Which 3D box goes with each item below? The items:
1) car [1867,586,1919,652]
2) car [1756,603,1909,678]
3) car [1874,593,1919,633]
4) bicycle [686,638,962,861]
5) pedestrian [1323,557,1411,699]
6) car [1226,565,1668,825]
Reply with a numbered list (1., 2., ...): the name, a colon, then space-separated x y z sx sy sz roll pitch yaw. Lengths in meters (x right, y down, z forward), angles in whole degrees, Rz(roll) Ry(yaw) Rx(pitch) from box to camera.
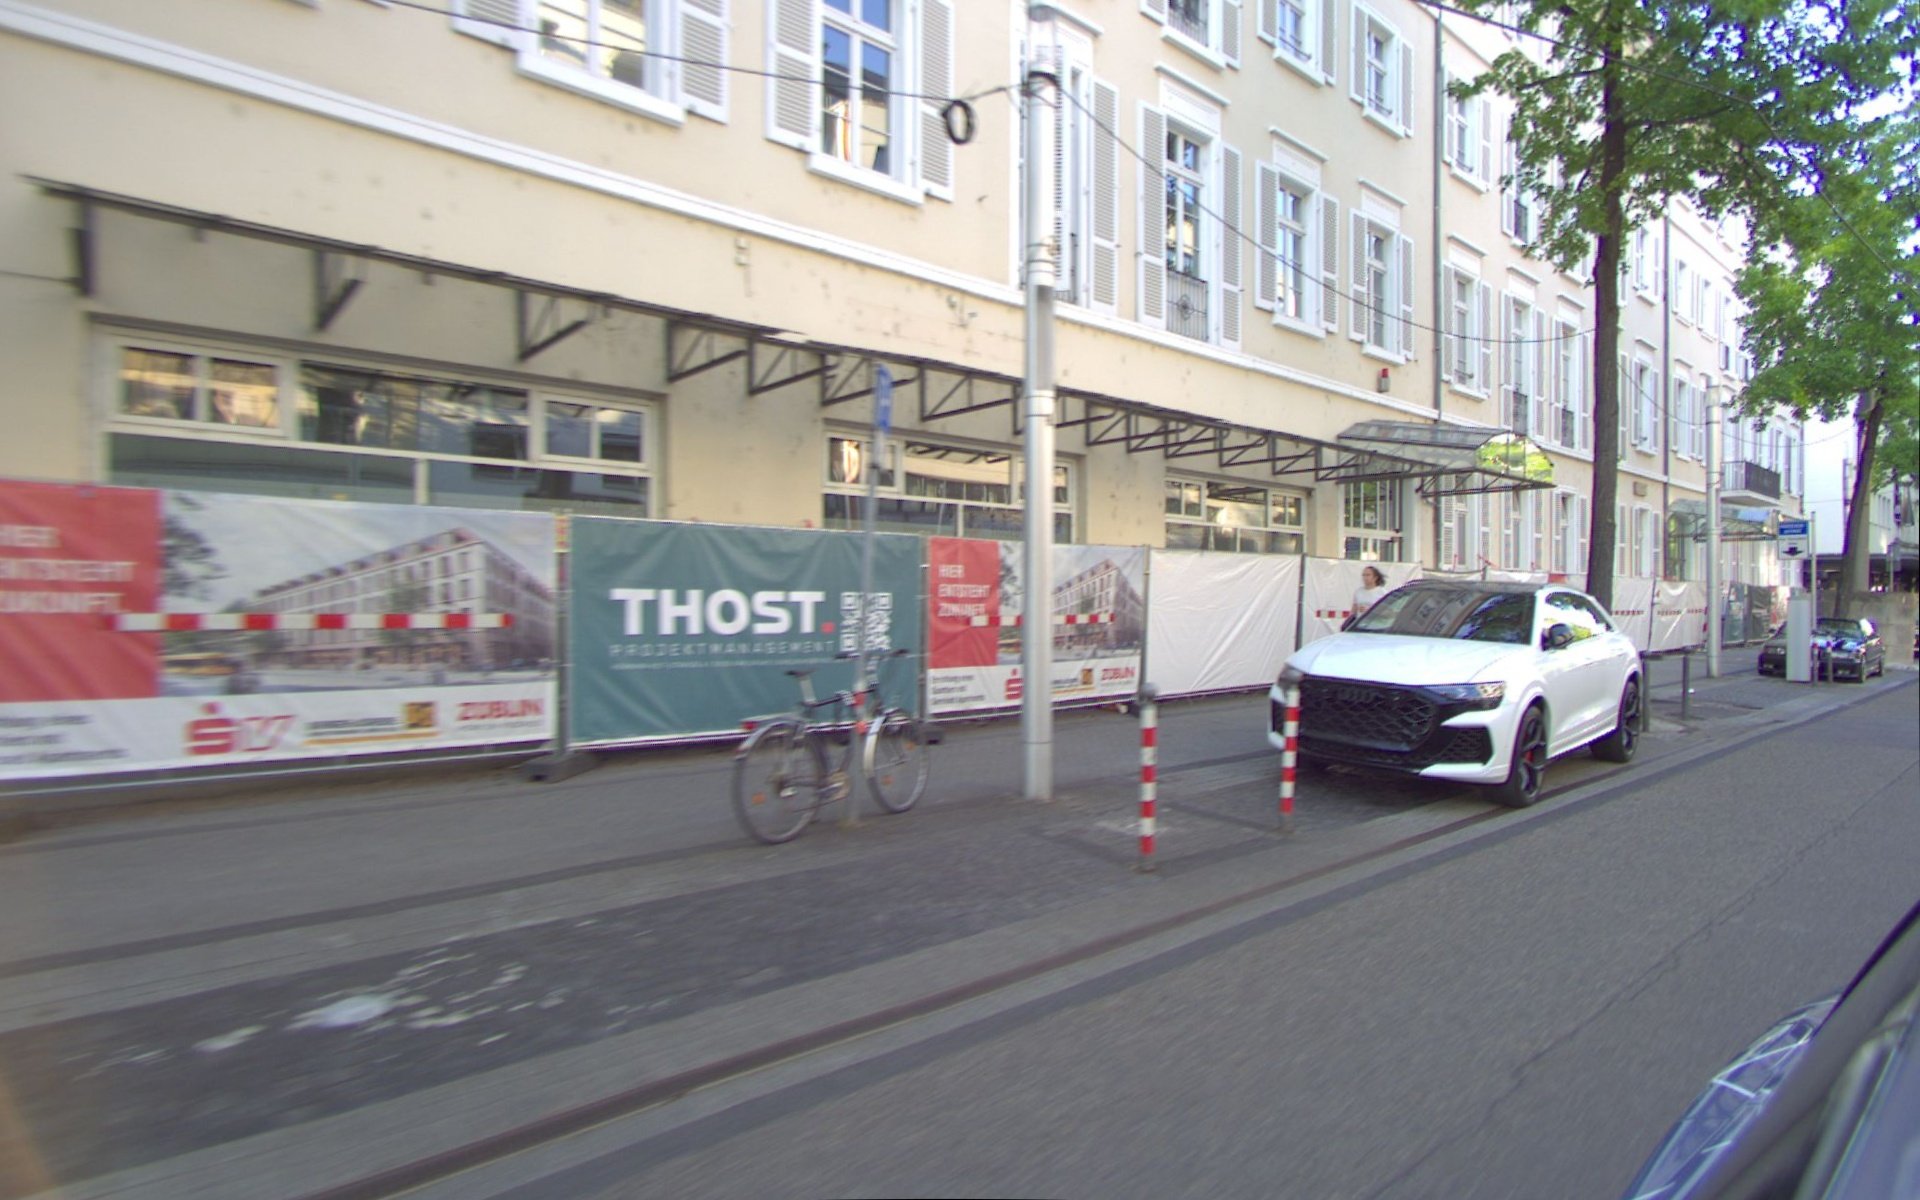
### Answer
1. car: 28.739 0.540 29.998 4.236 1.815 1.958 0 2 -37
2. car: 18.529 0.784 21.430 4.253 1.327 1.798 0 2 -40
3. car: 41.283 0.540 42.543 1.831 1.628 3.944 -2 1 -33
4. bicycle: -0.775 0.849 6.399 0.417 1.114 1.960 2 2 39
5. pedestrian: 5.731 0.362 14.239 1.034 1.910 0.714 0 1 -40
6. car: 4.633 0.582 9.194 4.885 1.708 2.000 -1 3 -44
